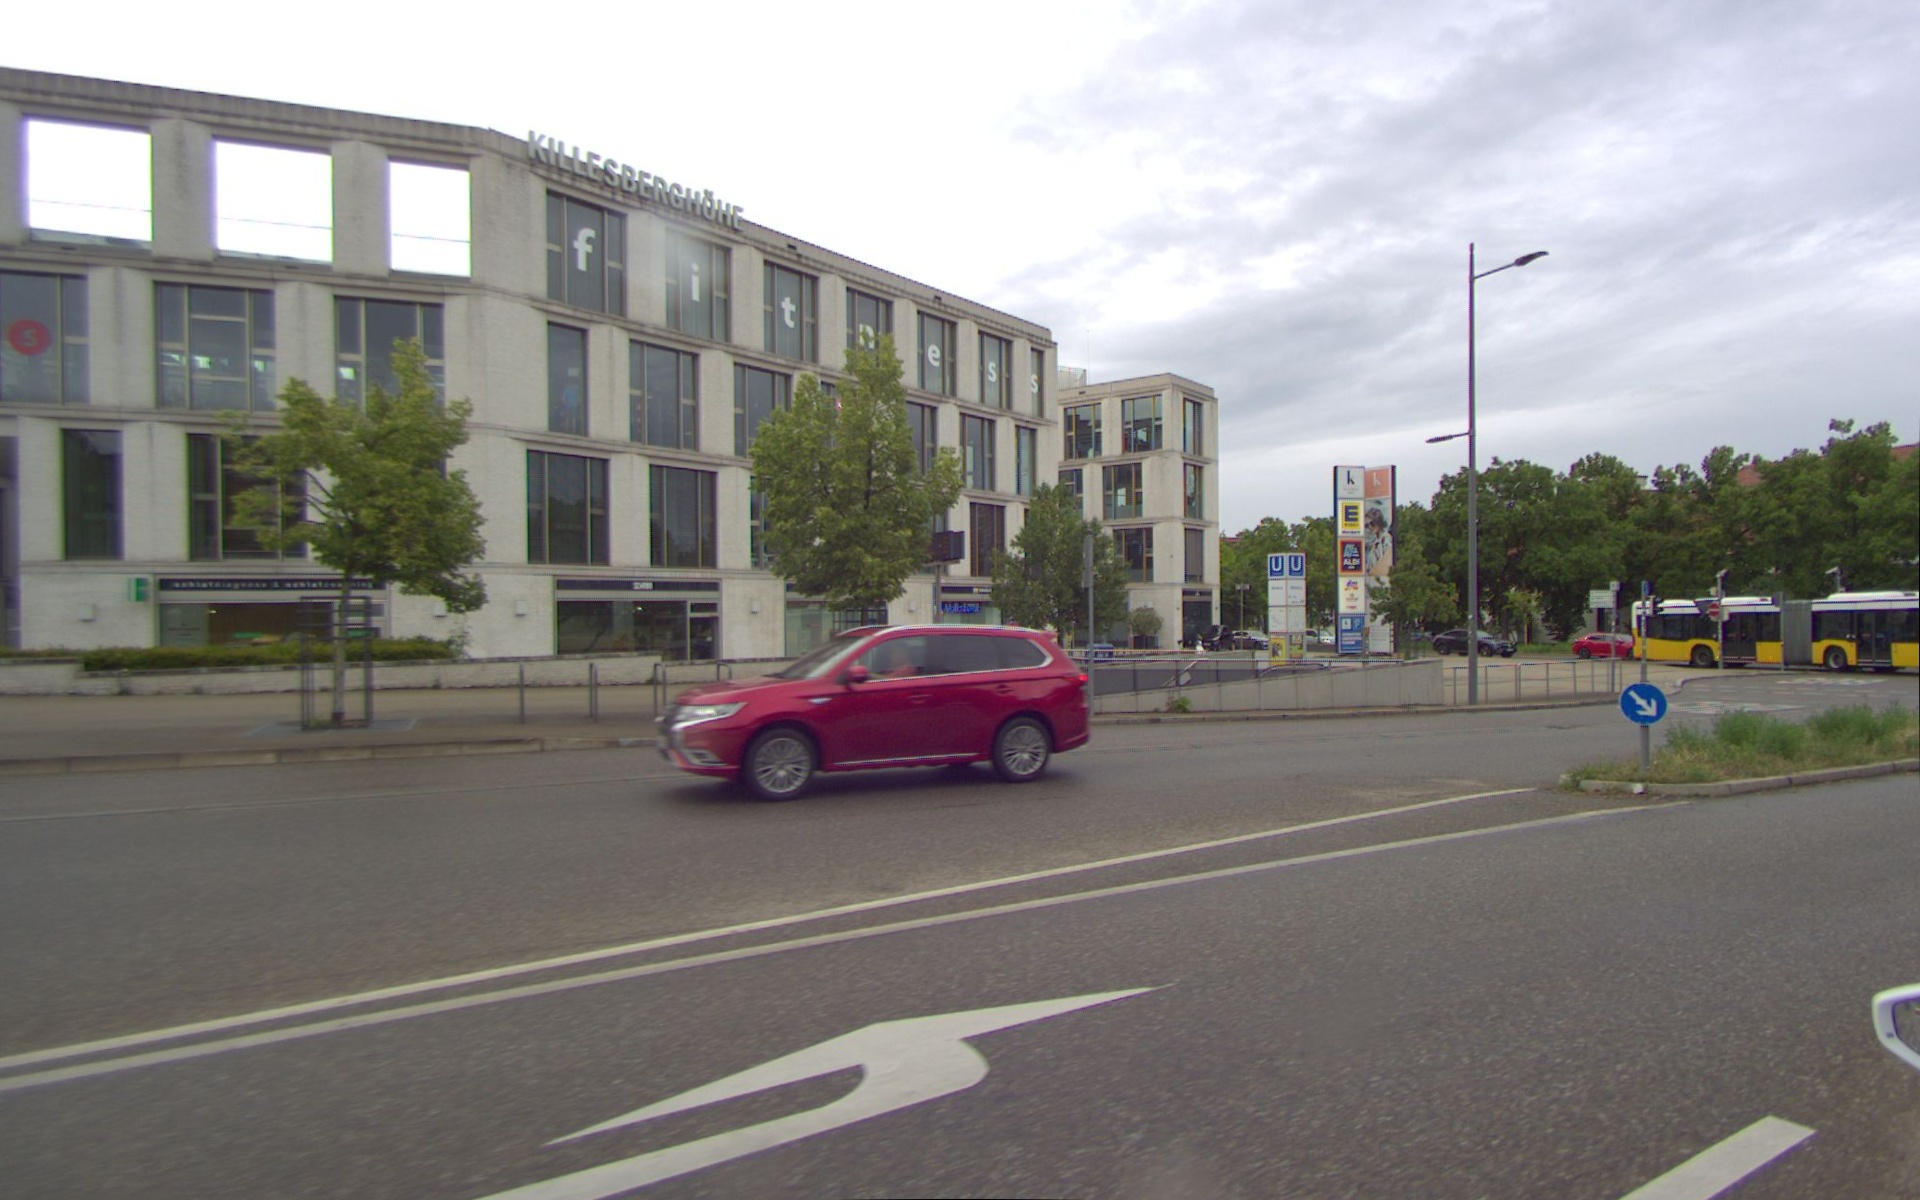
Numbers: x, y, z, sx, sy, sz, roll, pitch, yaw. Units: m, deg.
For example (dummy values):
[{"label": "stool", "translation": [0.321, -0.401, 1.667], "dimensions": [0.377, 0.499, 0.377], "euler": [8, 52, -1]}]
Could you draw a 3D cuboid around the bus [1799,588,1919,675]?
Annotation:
[{"label": "bus", "translation": [36.254, 1.152, 36.575], "dimensions": [2.842, 3.144, 9.753], "euler": [0, -1, -4]}]

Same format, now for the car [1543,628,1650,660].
[{"label": "car", "translation": [34.601, 2.350, 54.716], "dimensions": [1.974, 1.444, 4.557], "euler": [3, 0, -26]}]

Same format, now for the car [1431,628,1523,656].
[{"label": "car", "translation": [29.837, 2.402, 58.087], "dimensions": [1.974, 1.444, 4.430], "euler": [1, -1, -27]}]

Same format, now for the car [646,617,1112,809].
[{"label": "car", "translation": [-0.827, 1.095, 10.828], "dimensions": [4.676, 1.705, 1.847], "euler": [1, -4, -27]}]

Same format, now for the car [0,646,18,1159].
[{"label": "car", "translation": [-4.004, 0.769, 0.994], "dimensions": [4.151, 1.448, 1.796], "euler": [1, -3, -32]}]

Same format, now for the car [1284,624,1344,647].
[{"label": "car", "translation": [24.649, 2.455, 69.975], "dimensions": [1.822, 1.444, 3.759], "euler": [1, -1, -27]}]

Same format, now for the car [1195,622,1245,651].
[{"label": "car", "translation": [16.162, 2.255, 62.309], "dimensions": [1.750, 1.754, 3.987], "euler": [0, -2, 36]}]

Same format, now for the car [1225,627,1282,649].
[{"label": "car", "translation": [20.632, 2.656, 70.699], "dimensions": [1.647, 1.444, 3.952], "euler": [1, -1, -27]}]

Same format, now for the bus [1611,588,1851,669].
[{"label": "bus", "translation": [34.805, 1.280, 45.883], "dimensions": [2.853, 3.351, 8.538], "euler": [1, -2, -20]}]
